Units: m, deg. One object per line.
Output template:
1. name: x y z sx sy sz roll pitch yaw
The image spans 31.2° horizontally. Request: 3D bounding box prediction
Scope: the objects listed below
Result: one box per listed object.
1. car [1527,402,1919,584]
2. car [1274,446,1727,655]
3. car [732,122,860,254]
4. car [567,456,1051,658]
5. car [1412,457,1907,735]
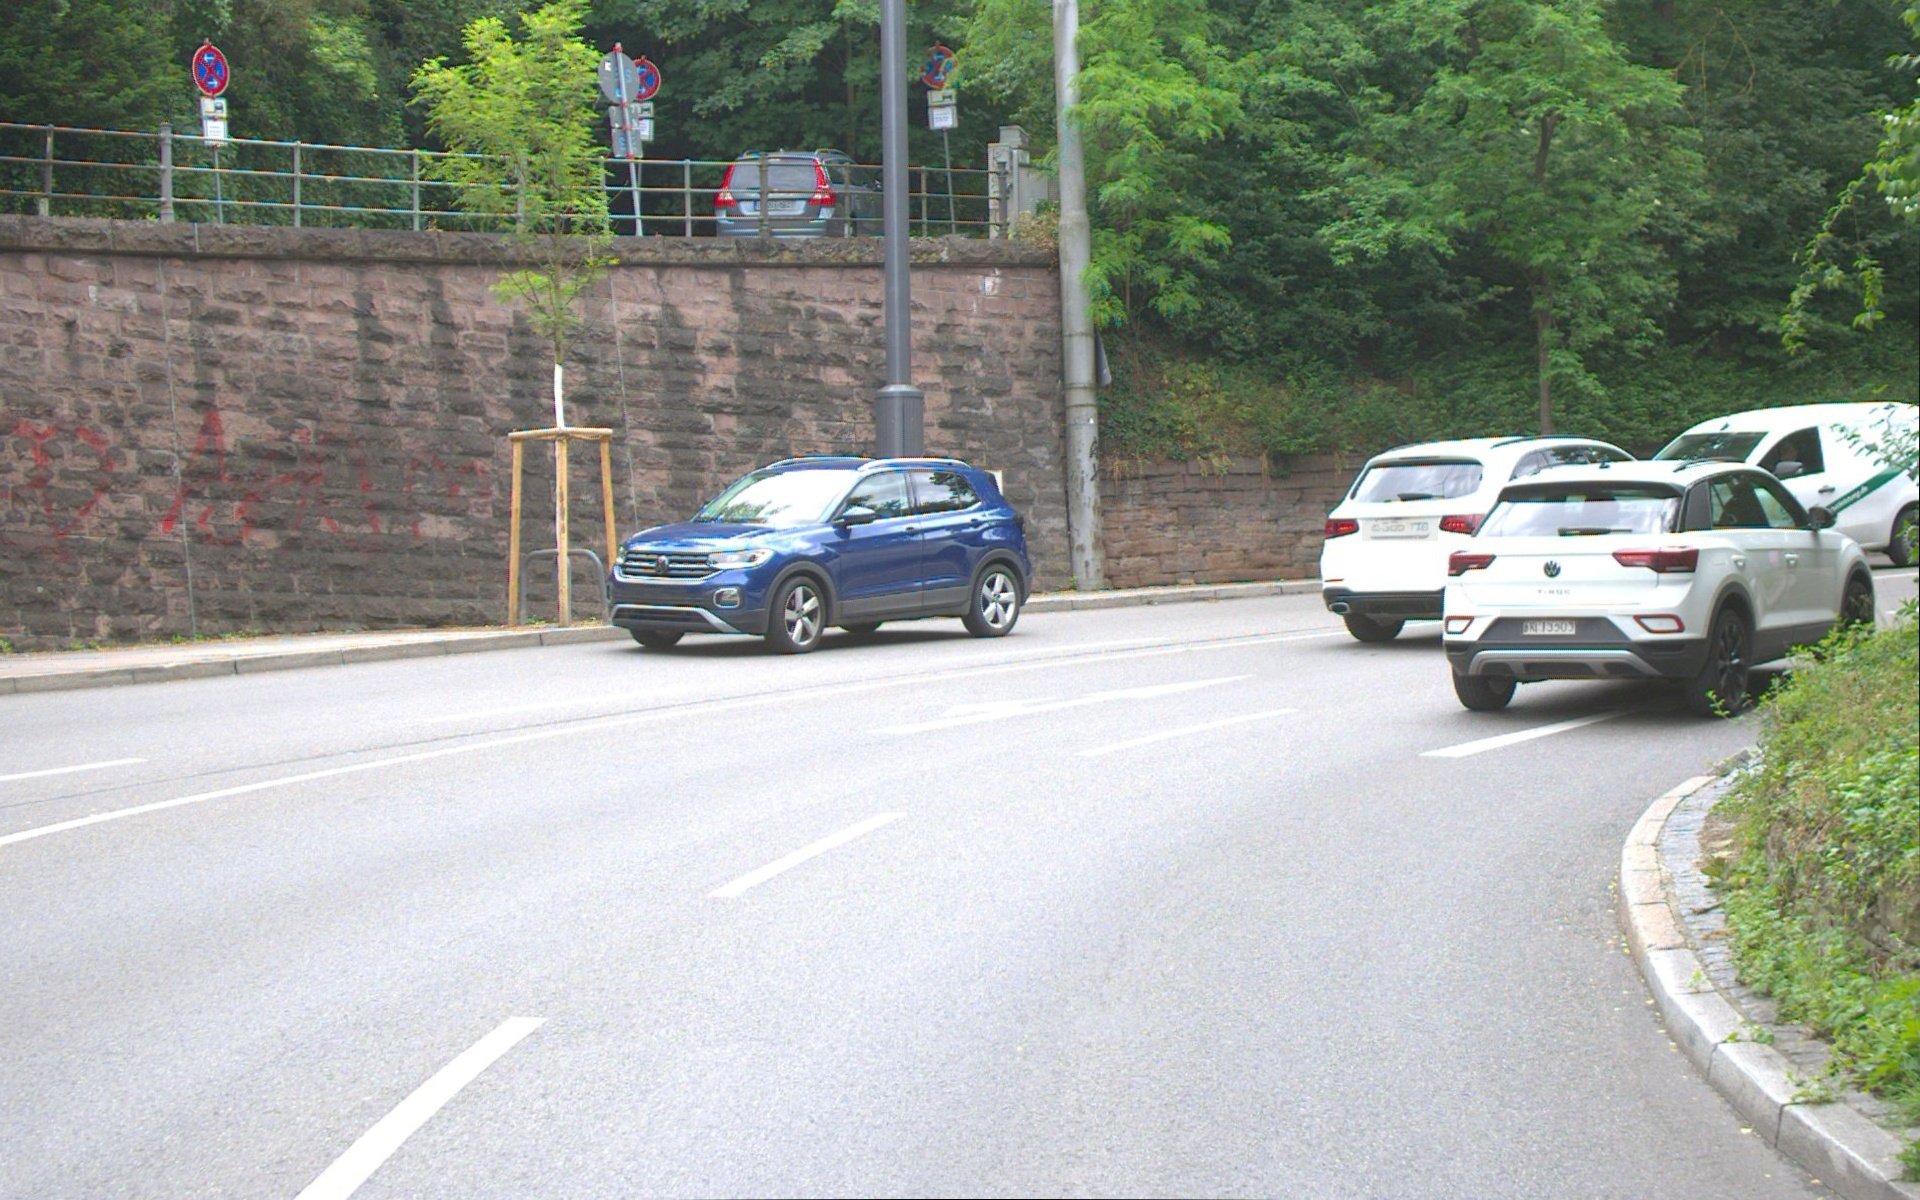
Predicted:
1. car: 8.447 -1.200 36.864 4.655 1.757 1.828 -3 5 -33
2. car: 4.647 -0.483 28.978 1.863 1.600 4.662 1 3 36
3. car: -2.216 -5.617 47.158 1.677 1.375 3.736 0 0 -1
4. car: -1.198 -0.427 29.063 1.730 1.522 4.192 2 4 39
5. car: 4.694 -0.118 22.584 1.758 1.547 4.330 2 4 32
